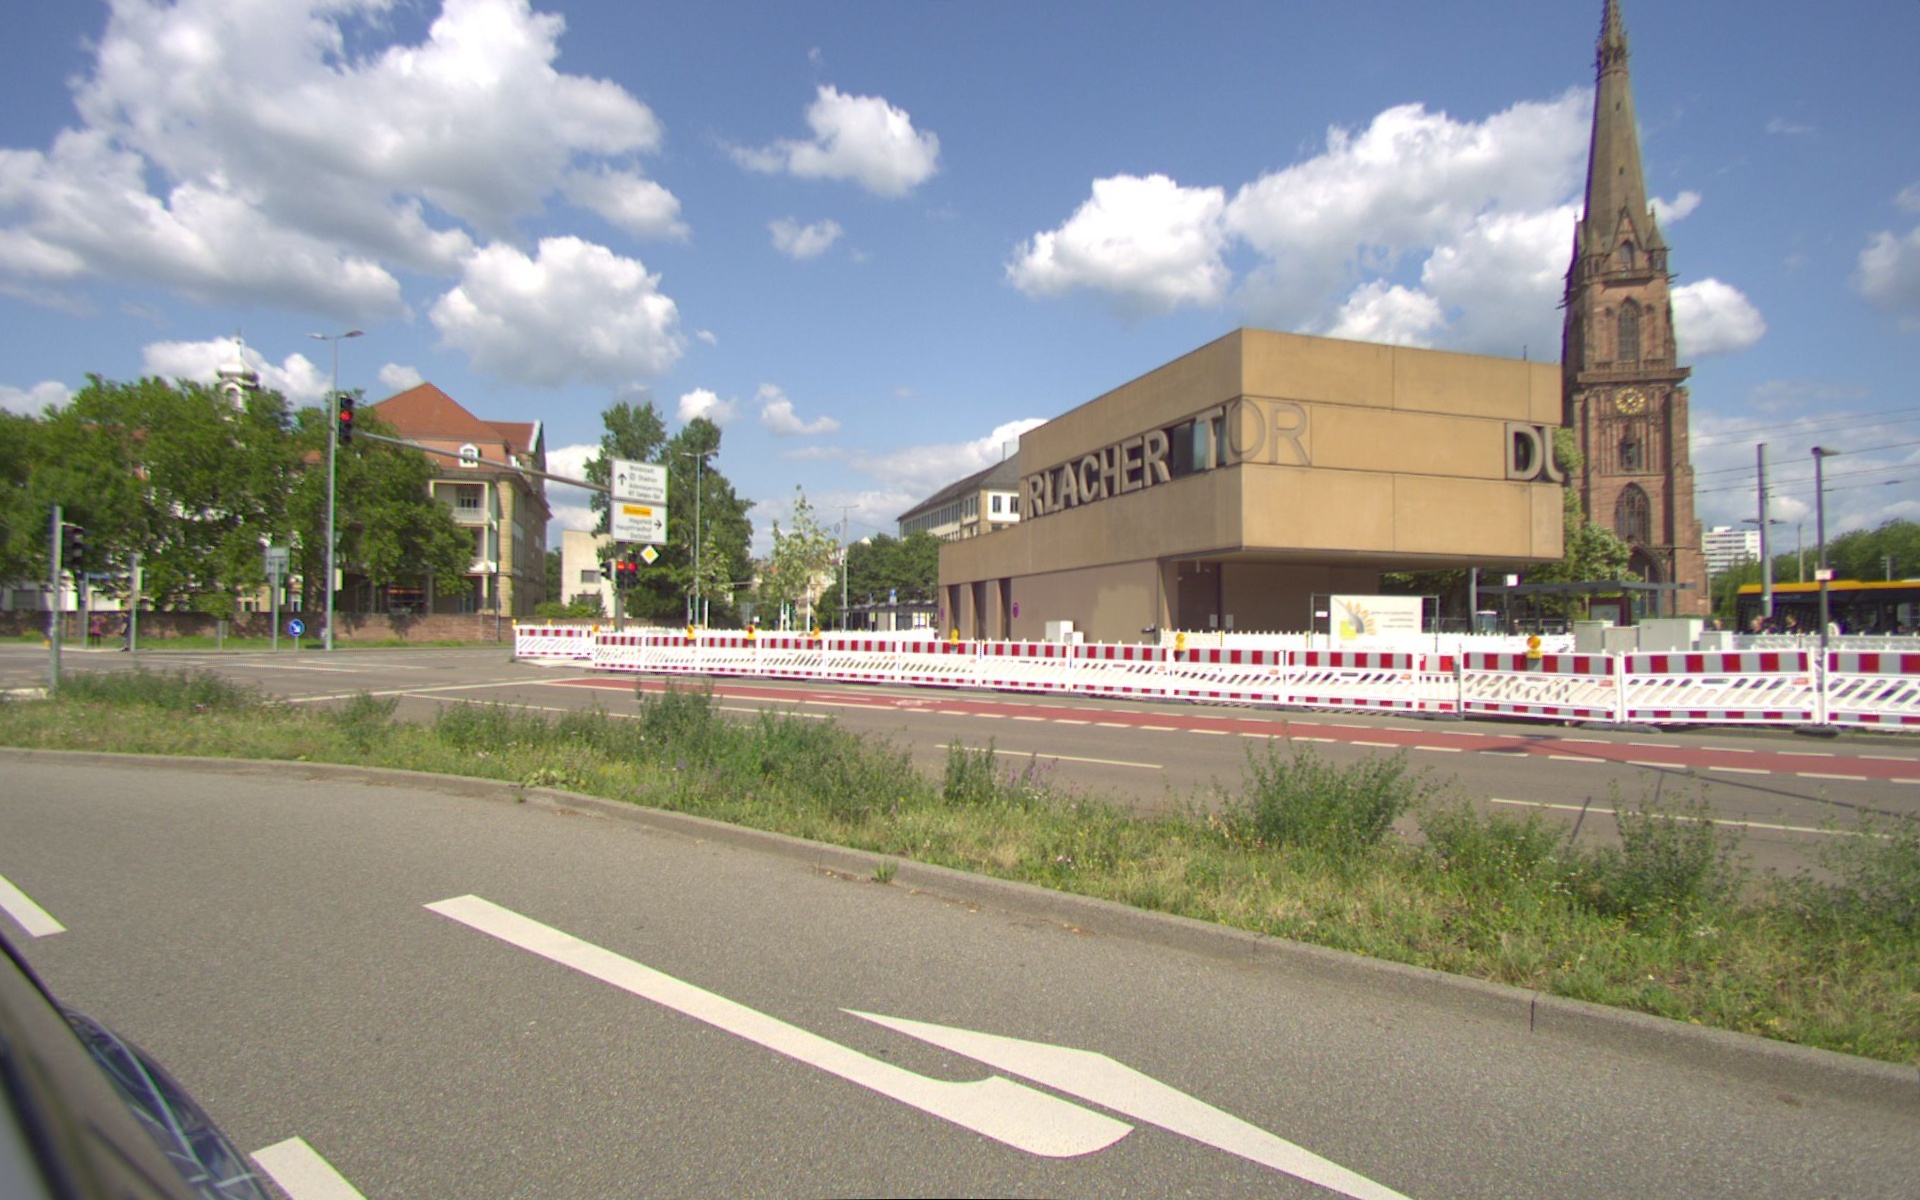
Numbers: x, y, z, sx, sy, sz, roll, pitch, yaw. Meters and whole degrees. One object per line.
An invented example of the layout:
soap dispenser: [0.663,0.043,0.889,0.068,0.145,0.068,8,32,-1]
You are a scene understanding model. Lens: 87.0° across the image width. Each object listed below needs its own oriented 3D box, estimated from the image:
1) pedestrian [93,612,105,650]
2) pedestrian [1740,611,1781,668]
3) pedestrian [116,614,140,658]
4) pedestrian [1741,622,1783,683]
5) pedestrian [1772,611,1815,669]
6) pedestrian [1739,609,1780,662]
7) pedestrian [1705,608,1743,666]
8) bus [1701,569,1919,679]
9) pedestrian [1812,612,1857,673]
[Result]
pedestrian: [-40.096,1.437,47.131,0.450,1.745,0.364,-1,0,39]
pedestrian: [23.617,1.164,29.862,0.752,1.644,0.655,1,-2,-23]
pedestrian: [-38.370,1.650,46.677,0.616,2.009,0.579,-1,0,13]
pedestrian: [21.759,1.408,27.471,0.763,1.644,0.646,-1,-2,30]
pedestrian: [23.942,1.144,29.068,0.752,1.644,0.655,1,-2,-24]
pedestrian: [25.438,1.129,32.201,0.641,1.644,0.768,1,-2,-23]
pedestrian: [21.793,1.046,28.869,0.720,1.642,0.561,1,-2,-27]
bus: [29.069,0.692,29.303,2.785,3.160,12.880,1,-2,-19]
pedestrian: [23.835,1.148,27.594,0.752,1.644,0.655,1,-2,-27]
